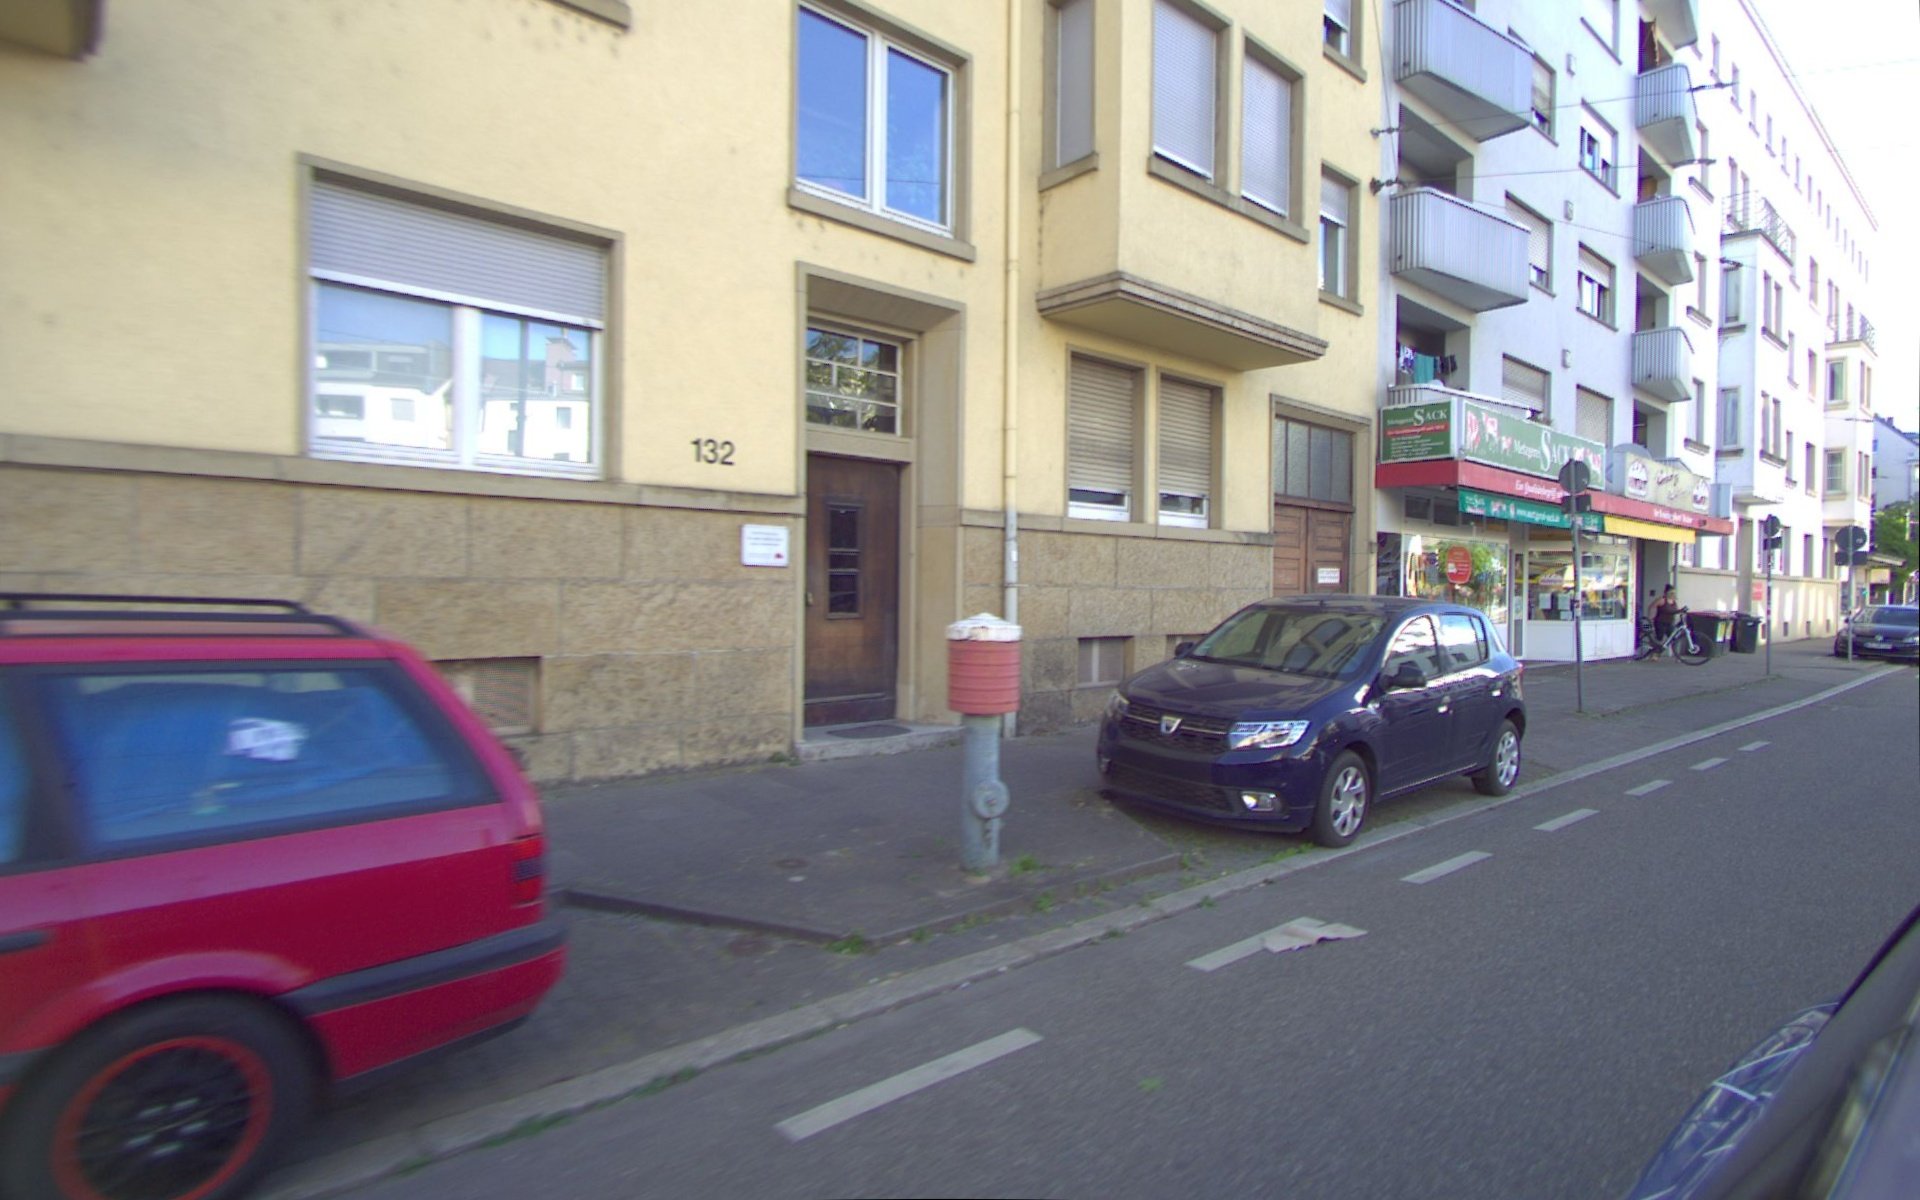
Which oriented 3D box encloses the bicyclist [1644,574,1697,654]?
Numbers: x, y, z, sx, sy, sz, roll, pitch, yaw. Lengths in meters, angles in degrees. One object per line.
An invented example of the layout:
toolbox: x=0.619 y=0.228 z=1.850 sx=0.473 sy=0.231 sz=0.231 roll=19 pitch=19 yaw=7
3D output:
bicyclist: x=15.662 y=0.302 z=22.303 sx=0.500 sy=1.724 sz=0.845 roll=0 pitch=0 yaw=-37

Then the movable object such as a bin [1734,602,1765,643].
movable object such as a bin: x=20.957 y=0.592 z=26.872 sx=0.545 sy=1.070 sz=0.559 roll=0 pitch=0 yaw=-42

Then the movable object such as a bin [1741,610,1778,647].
movable object such as a bin: x=20.695 y=0.730 z=26.199 sx=0.560 sy=0.928 sz=0.656 roll=0 pitch=0 yaw=-42

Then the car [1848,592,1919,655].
car: x=24.333 y=0.558 z=25.910 sx=4.280 sy=1.424 sz=1.715 roll=0 pitch=4 yaw=-40

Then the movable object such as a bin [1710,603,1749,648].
movable object such as a bin: x=18.991 y=0.616 z=24.965 sx=0.560 sy=1.086 sz=0.677 roll=0 pitch=0 yaw=-42

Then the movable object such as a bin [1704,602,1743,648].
movable object such as a bin: x=18.553 y=0.606 z=24.589 sx=0.560 sy=1.086 sz=0.677 roll=0 pitch=0 yaw=-42

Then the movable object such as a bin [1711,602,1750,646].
movable object such as a bin: x=19.371 y=0.600 z=25.442 sx=0.560 sy=1.086 sz=0.677 roll=0 pitch=0 yaw=-42

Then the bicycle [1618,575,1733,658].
bicycle: x=15.692 y=0.341 z=22.233 sx=0.761 sy=1.732 sz=1.936 roll=0 pitch=0 yaw=-37

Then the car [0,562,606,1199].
car: x=-3.364 y=0.649 z=2.100 sx=4.626 sy=1.474 sz=1.863 roll=0 pitch=1 yaw=-40

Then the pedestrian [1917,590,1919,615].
pedestrian: x=76.101 y=0.192 z=79.924 sx=0.645 sy=1.980 sz=0.577 roll=1 pitch=1 yaw=33

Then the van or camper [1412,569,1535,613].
van or camper: x=34.843 y=-0.662 z=68.906 sx=2.869 sy=2.849 sz=6.930 roll=0 pitch=1 yaw=-38

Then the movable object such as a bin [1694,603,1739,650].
movable object such as a bin: x=18.055 y=0.631 z=24.154 sx=0.607 sy=1.086 sz=0.771 roll=0 pitch=0 yaw=-42

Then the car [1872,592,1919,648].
car: x=28.187 y=0.569 z=29.443 sx=3.917 sy=1.490 sz=1.862 roll=0 pitch=4 yaw=-40

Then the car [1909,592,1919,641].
car: x=32.211 y=0.556 z=32.605 sx=4.022 sy=1.525 sz=1.862 roll=0 pitch=4 yaw=-40

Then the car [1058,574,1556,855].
car: x=2.721 y=0.601 z=7.489 sx=3.932 sy=1.509 sz=1.722 roll=0 pitch=2 yaw=-41
